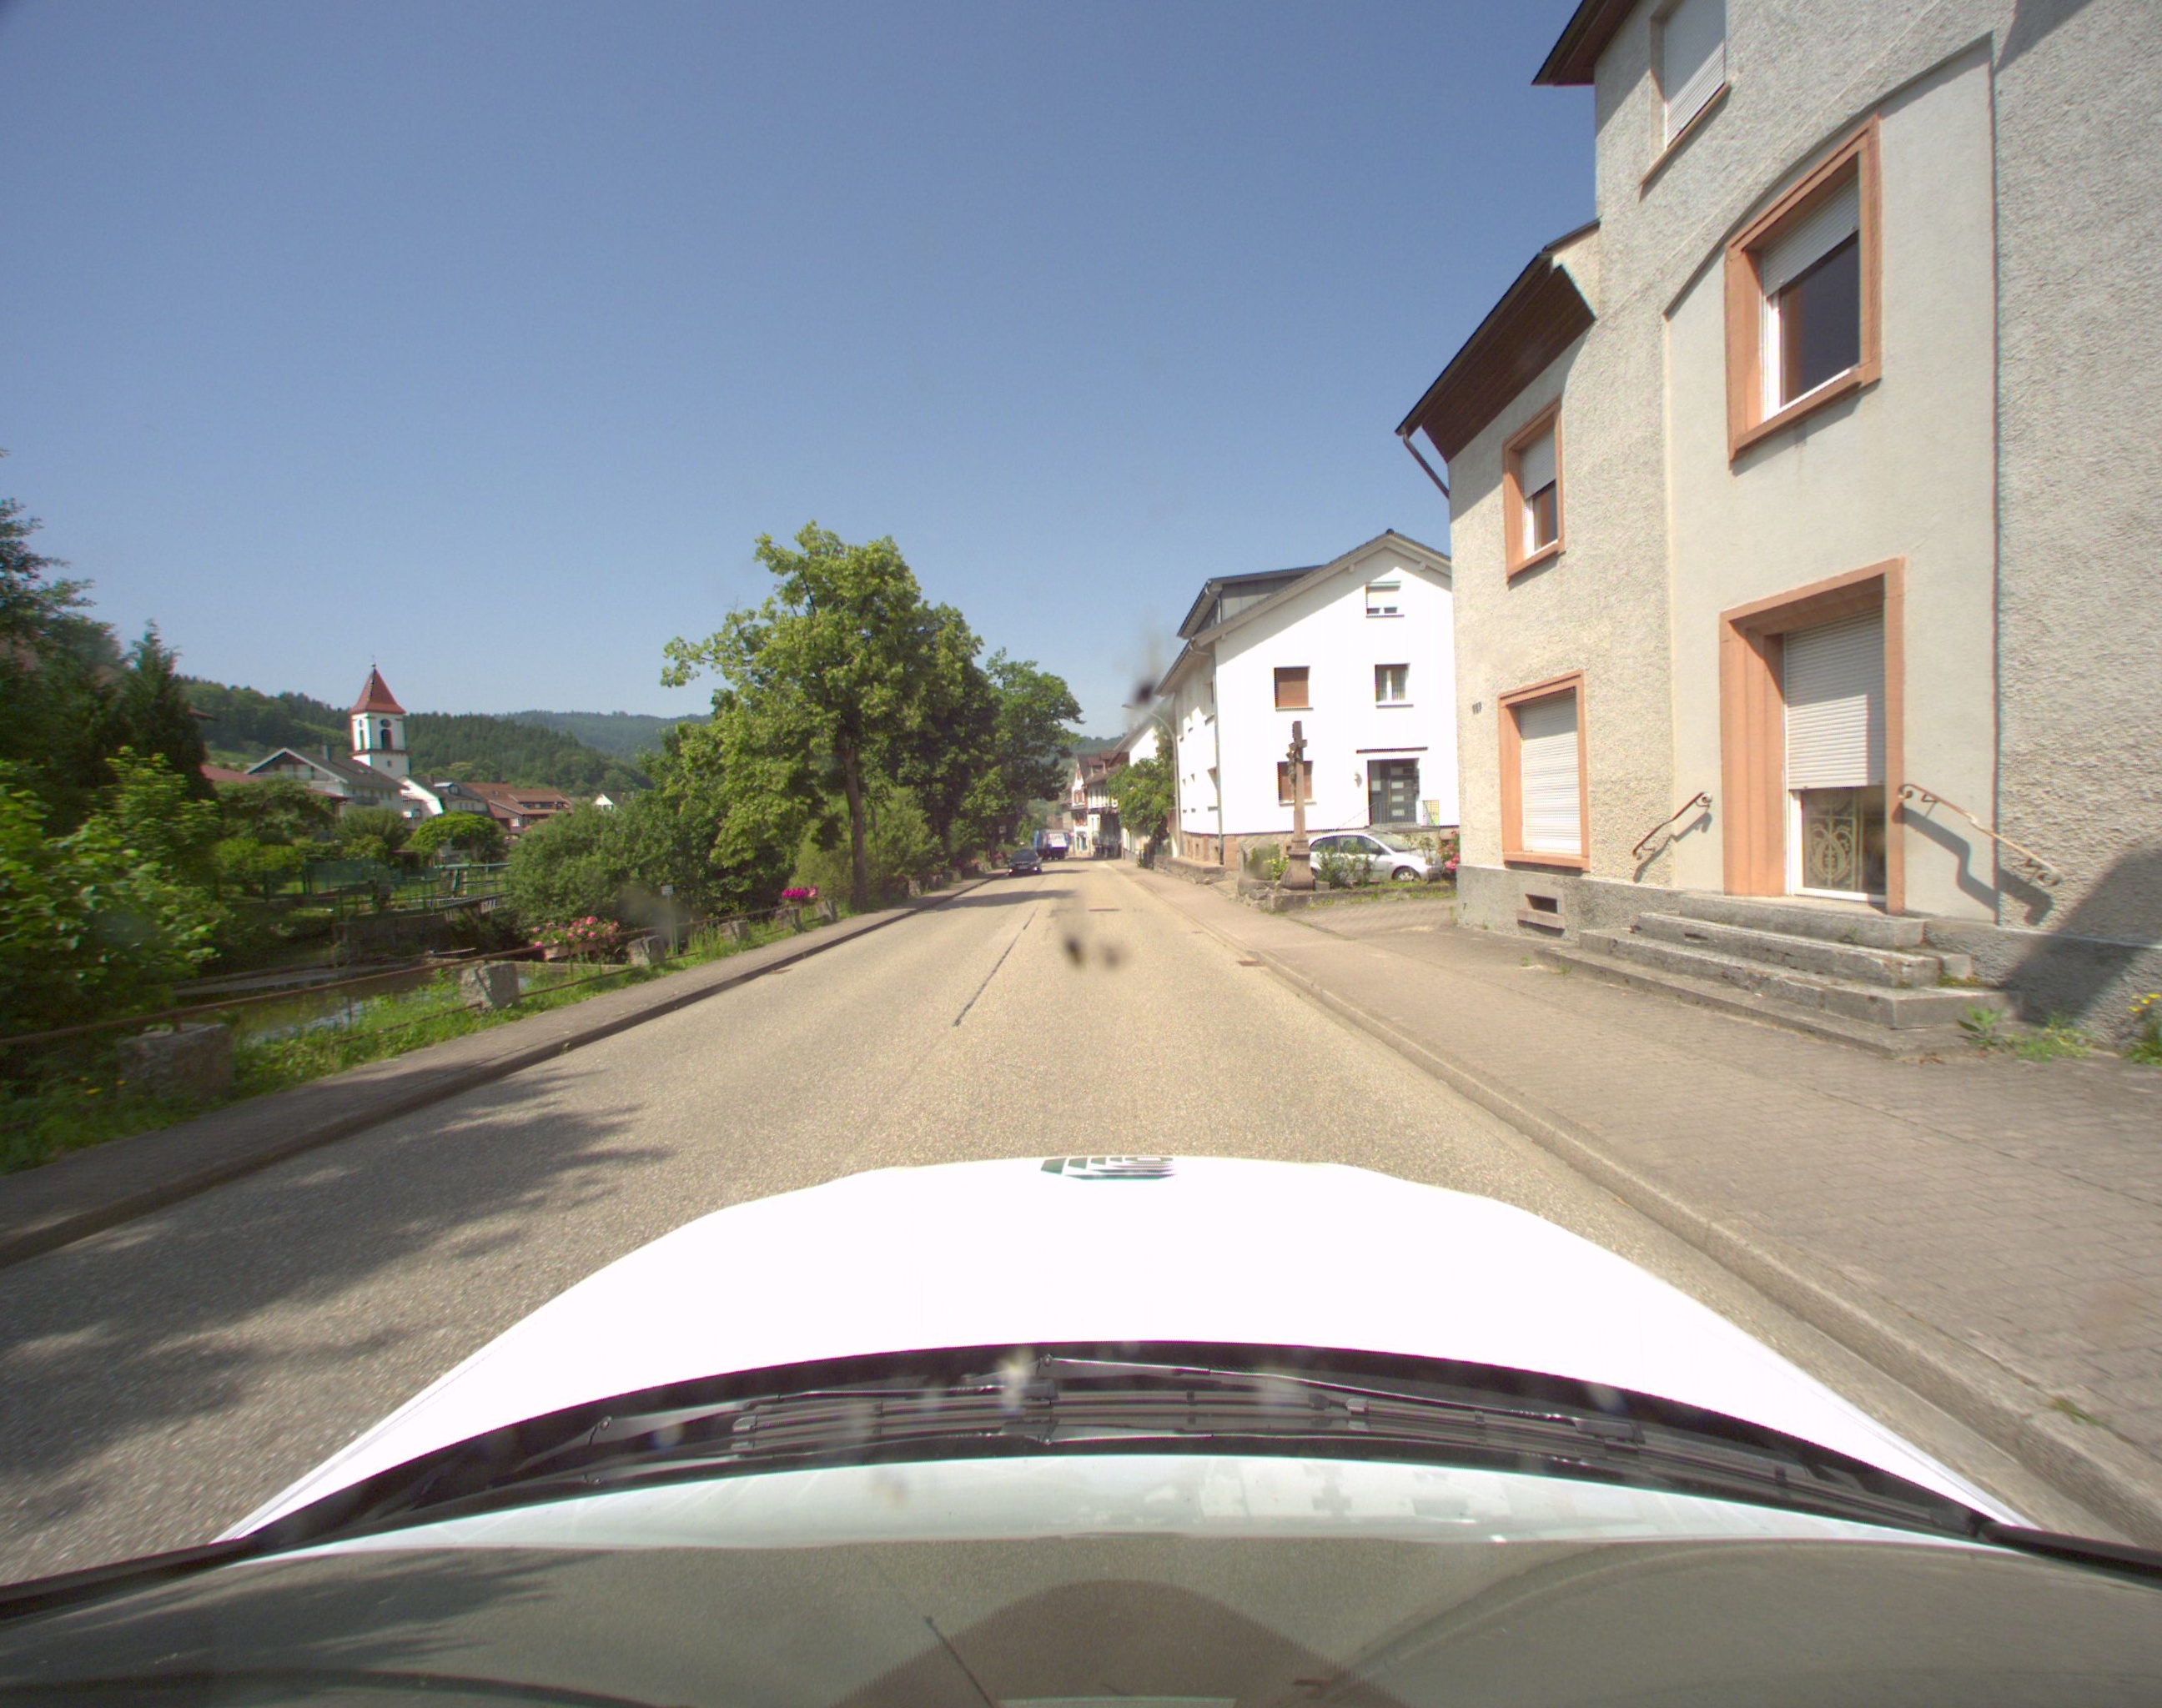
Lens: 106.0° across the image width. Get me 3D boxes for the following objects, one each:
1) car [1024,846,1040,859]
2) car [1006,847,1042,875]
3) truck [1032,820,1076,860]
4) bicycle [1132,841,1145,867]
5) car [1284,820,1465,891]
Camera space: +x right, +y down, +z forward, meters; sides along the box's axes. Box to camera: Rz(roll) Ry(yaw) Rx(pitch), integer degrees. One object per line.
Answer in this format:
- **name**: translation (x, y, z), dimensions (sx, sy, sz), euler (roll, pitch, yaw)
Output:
- **car**: translation (-7.616, -0.250, 125.669), dimensions (1.775, 1.734, 3.984), euler (-6, -1, -11)
- **car**: translation (-3.221, 0.382, 46.765), dimensions (1.661, 1.418, 4.086), euler (-4, 0, 0)
- **truck**: translation (-3.146, -1.482, 92.417), dimensions (3.365, 3.781, 8.406), euler (-6, -1, -11)
- **bicycle**: translation (3.259, -0.039, 46.278), dimensions (0.424, 1.396, 2.277), euler (-6, 1, 0)
- **car**: translation (7.090, 0.044, 19.883), dimensions (3.729, 1.426, 1.620), euler (-1, 5, 45)
